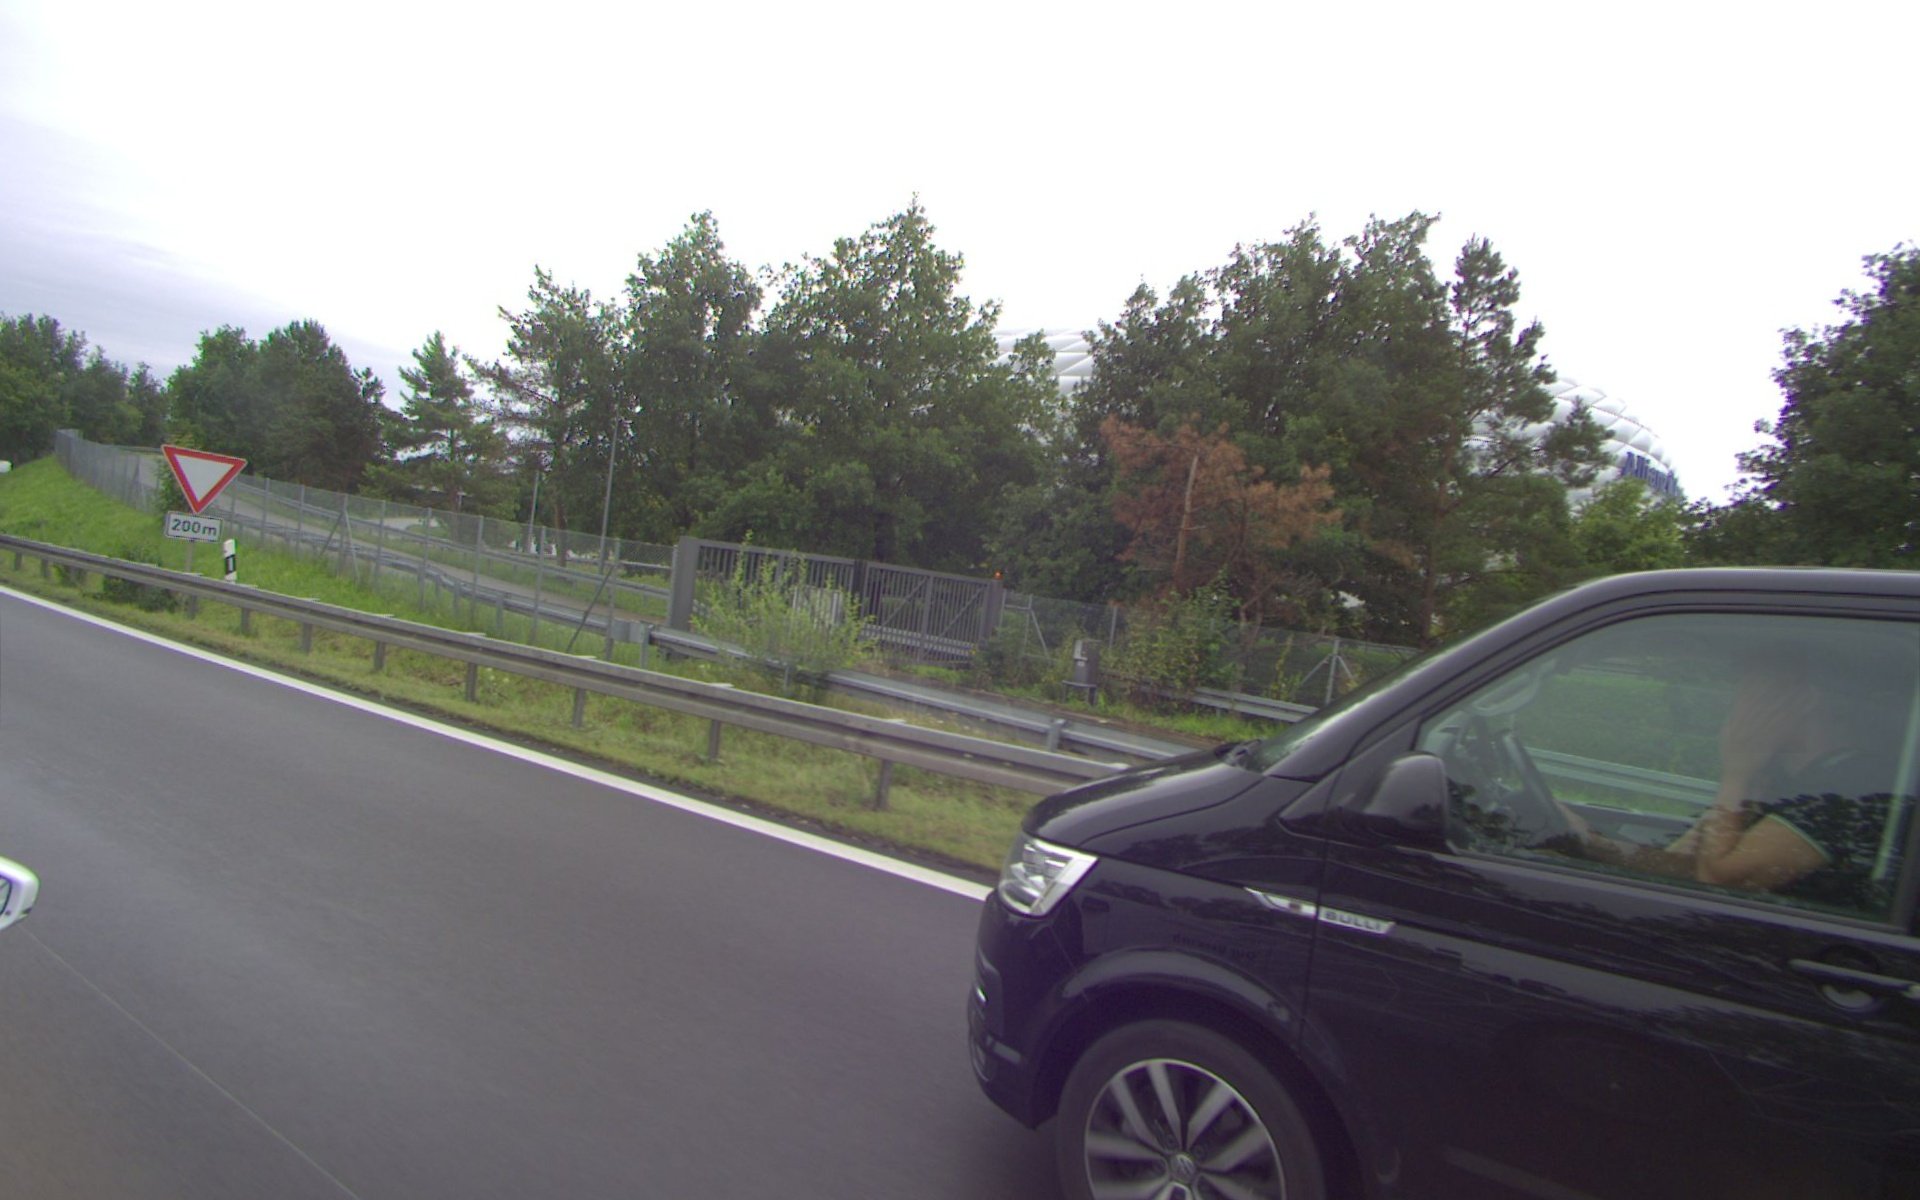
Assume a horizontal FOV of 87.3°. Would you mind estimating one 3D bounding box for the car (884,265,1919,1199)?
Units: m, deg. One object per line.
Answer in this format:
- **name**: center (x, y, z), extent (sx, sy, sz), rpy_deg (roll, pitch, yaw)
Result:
- **car**: center (2.941, 0.769, 2.128), extent (5.797, 2.290, 2.115), rpy_deg (7, -2, 31)
